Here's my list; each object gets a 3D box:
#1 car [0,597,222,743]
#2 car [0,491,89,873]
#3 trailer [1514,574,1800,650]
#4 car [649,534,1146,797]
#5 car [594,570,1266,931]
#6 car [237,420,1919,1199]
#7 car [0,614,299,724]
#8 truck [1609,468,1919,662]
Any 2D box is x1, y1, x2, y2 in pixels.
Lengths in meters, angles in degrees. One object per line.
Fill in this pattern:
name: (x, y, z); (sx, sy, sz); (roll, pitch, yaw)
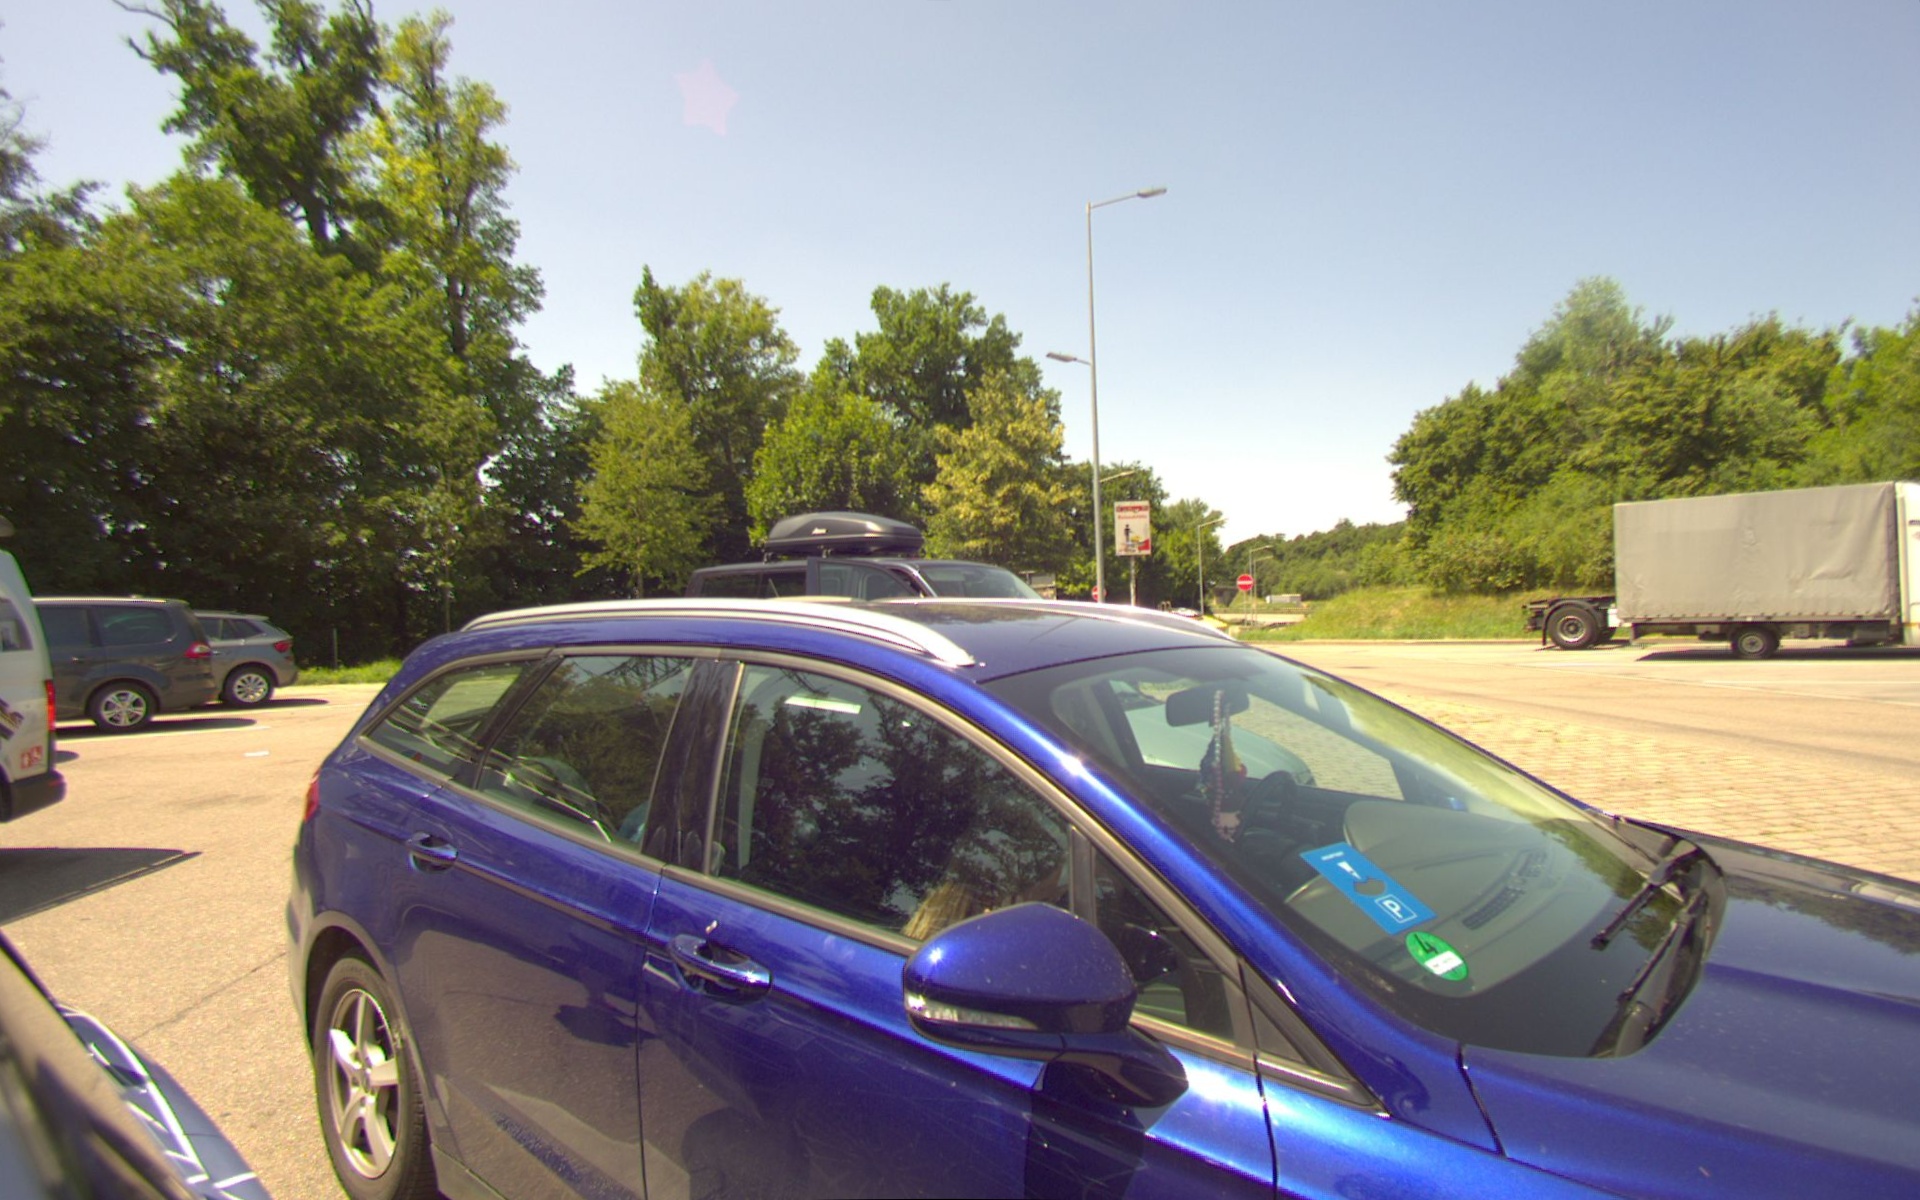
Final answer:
car: (-11.710, 0.835, 12.613); (3.830, 1.703, 1.883); (0, -2, -45)
car: (-6.240, 0.448, 3.661); (1.969, 2.166, 5.319); (-2, -1, -5)
trailer: (16.323, 0.342, 23.930); (5.393, 1.608, 1.576); (-2, -1, 41)
car: (-0.740, 0.532, 9.430); (4.427, 1.875, 2.022); (-2, -1, 40)
car: (-0.373, 0.649, 5.819); (3.739, 1.424, 1.587); (-2, -1, 40)
car: (0.231, 0.650, 2.098); (4.427, 1.455, 1.763); (-2, -1, 40)
car: (-12.604, 0.971, 15.627); (3.753, 1.488, 1.743); (0, -1, -45)
truck: (16.703, -0.622, 18.857); (7.308, 3.258, 2.294); (-5, -2, 43)
